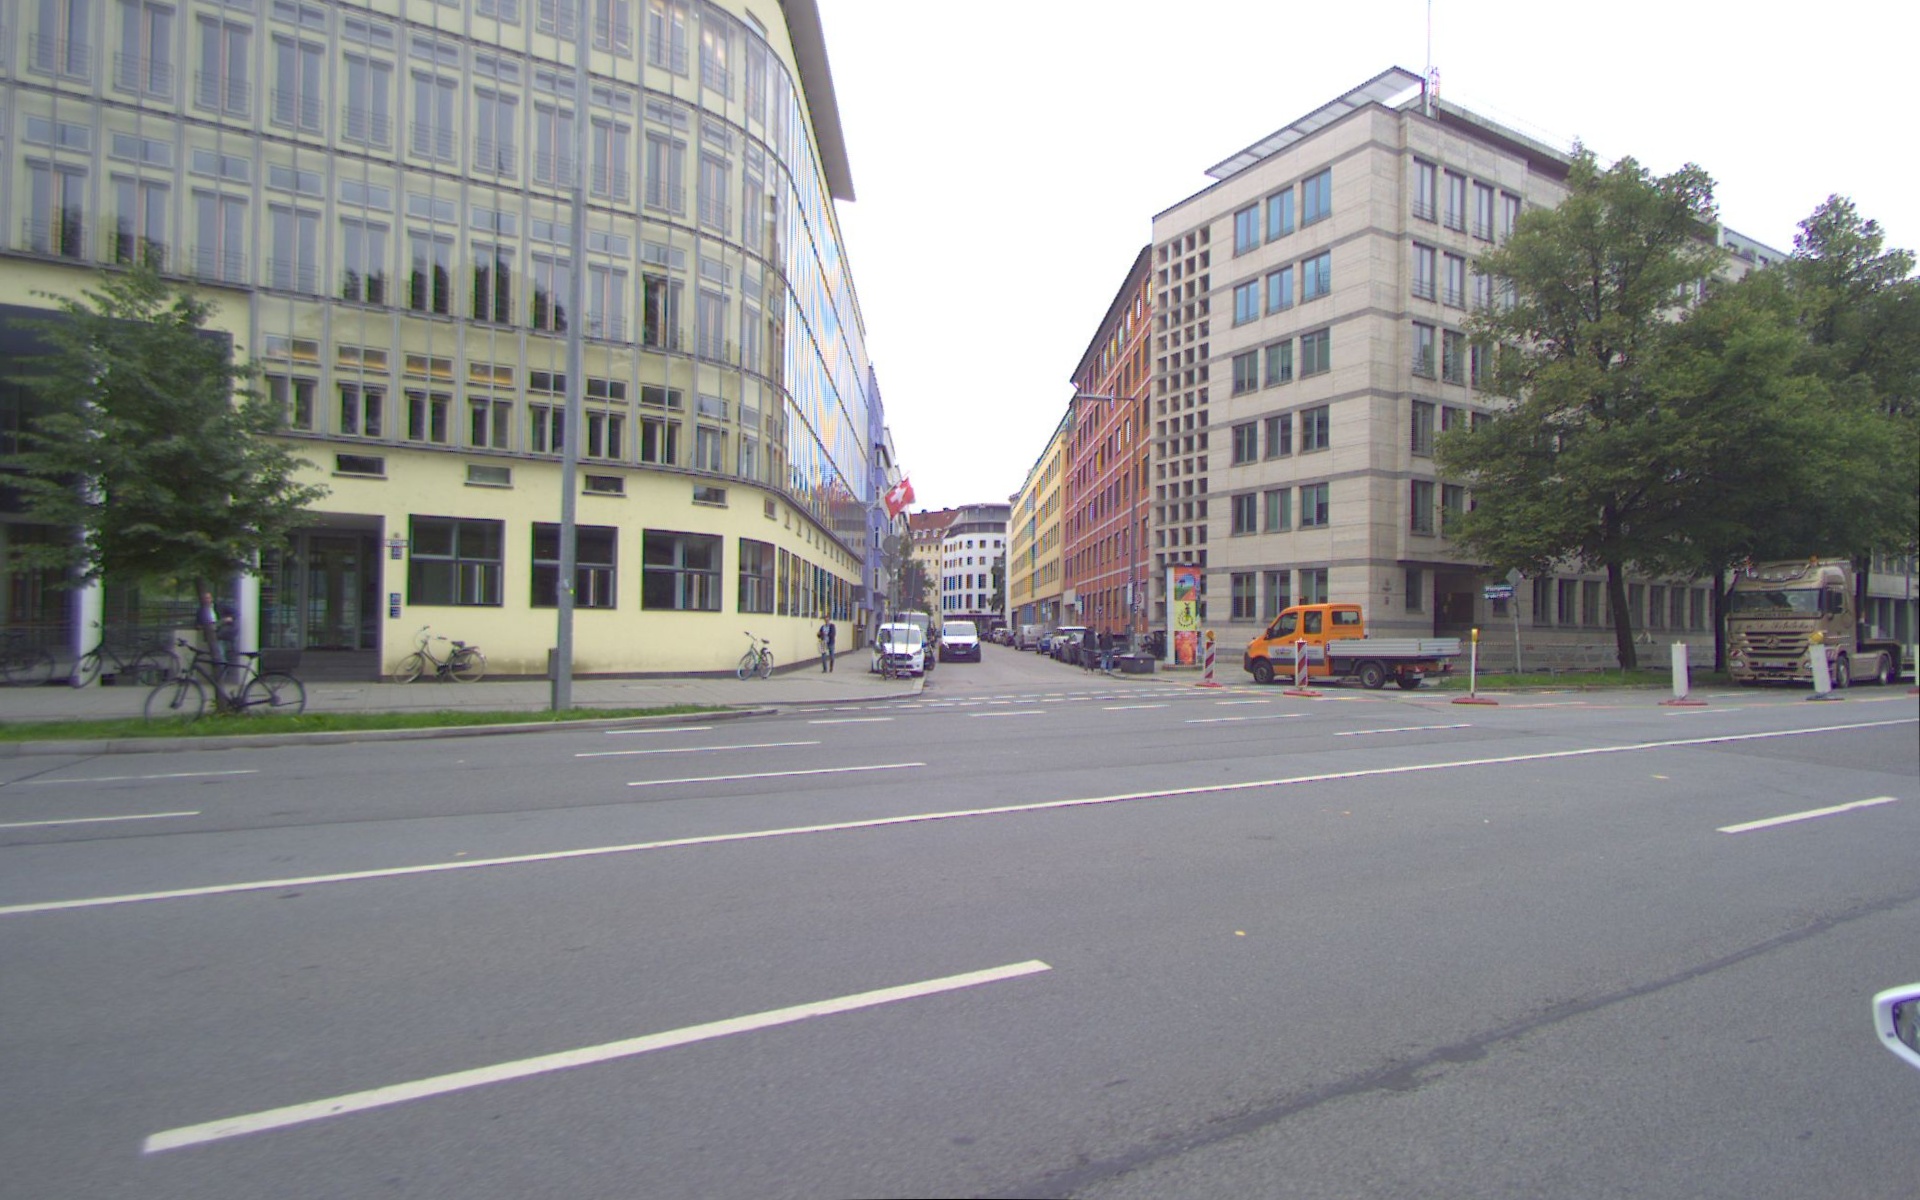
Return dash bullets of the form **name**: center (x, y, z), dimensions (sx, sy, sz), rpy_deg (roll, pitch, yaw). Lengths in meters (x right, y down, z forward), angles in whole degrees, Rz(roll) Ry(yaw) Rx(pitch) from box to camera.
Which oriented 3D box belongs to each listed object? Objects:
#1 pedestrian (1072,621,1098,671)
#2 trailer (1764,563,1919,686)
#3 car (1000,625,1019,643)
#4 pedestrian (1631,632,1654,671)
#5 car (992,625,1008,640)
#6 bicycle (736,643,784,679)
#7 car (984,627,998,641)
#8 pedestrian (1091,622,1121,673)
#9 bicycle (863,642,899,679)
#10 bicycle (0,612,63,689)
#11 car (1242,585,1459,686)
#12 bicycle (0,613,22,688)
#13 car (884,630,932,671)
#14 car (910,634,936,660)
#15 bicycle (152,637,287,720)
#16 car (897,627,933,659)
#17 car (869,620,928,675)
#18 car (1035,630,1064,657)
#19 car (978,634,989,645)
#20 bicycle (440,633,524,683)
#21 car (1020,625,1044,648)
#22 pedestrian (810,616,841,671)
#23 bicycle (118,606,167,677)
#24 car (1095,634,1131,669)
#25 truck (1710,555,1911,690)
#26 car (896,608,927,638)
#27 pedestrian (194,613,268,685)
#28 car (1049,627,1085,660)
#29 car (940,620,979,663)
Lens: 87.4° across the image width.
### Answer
- **pedestrian**: center (4.621, 1.707, 37.075), dimensions (0.665, 1.798, 0.680), rpy_deg (2, 0, -25)
- **trailer**: center (32.362, 0.898, 35.560), dimensions (11.653, 3.790, 2.930), rpy_deg (2, 0, -35)
- **car**: center (4.551, 3.167, 92.989), dimensions (1.460, 1.612, 3.183), rpy_deg (1, -1, -2)
- **pedestrian**: center (31.422, 2.388, 46.252), dimensions (0.755, 1.755, 0.576), rpy_deg (2, 0, -29)
- **car**: center (4.262, 3.446, 106.441), dimensions (1.460, 1.612, 3.183), rpy_deg (1, -1, -2)
- **bicycle**: center (-5.230, 1.581, 26.340), dimensions (0.574, 0.889, 1.738), rpy_deg (0, -1, 12)
- **car**: center (3.682, 4.025, 118.503), dimensions (1.460, 1.612, 3.183), rpy_deg (1, -1, -2)
- **pedestrian**: center (5.331, 1.733, 36.659), dimensions (0.773, 1.798, 0.680), rpy_deg (2, 0, -26)
- **bicycle**: center (-2.386, 1.828, 30.653), dimensions (0.574, 1.034, 1.847), rpy_deg (0, -1, 12)
- **bicycle**: center (-17.633, 0.928, 19.111), dimensions (0.569, 1.336, 1.995), rpy_deg (2, 0, -34)
- **car**: center (10.985, 0.984, 28.772), dimensions (2.134, 2.570, 5.648), rpy_deg (2, -2, -33)
- **bicycle**: center (-18.132, 0.927, 18.752), dimensions (0.569, 1.336, 1.995), rpy_deg (2, 0, -34)
- **car**: center (-1.981, 1.935, 39.124), dimensions (1.708, 1.476, 3.671), rpy_deg (1, -1, -1)
- **car**: center (-2.770, 3.496, 75.203), dimensions (1.834, 1.773, 3.999), rpy_deg (1, -1, -3)
- **bicycle**: center (-9.578, 0.999, 13.040), dimensions (1.370, 1.026, 0.279), rpy_deg (2, 0, -34)
- **car**: center (-2.203, 2.116, 49.912), dimensions (1.708, 1.476, 3.671), rpy_deg (1, -1, -1)
- **car**: center (-2.085, 1.615, 35.125), dimensions (1.833, 1.773, 4.329), rpy_deg (1, -1, -1)
- **car**: center (5.663, 2.729, 63.665), dimensions (1.460, 1.612, 3.183), rpy_deg (1, -1, -2)
- **car**: center (3.304, 5.536, 140.876), dimensions (1.460, 1.612, 3.183), rpy_deg (1, -1, -2)
- **bicycle**: center (-10.436, 1.252, 21.939), dimensions (1.577, 1.026, 0.569), rpy_deg (2, 0, -34)
- **car**: center (5.360, 2.704, 74.937), dimensions (1.460, 1.612, 3.183), rpy_deg (1, -1, -2)
- **pedestrian**: center (-4.372, 1.399, 32.707), dimensions (0.798, 1.756, 0.995), rpy_deg (2, 0, 1)
- **bicycle**: center (-16.488, 0.815, 20.288), dimensions (0.569, 1.336, 1.995), rpy_deg (2, 0, -34)
- **car**: center (6.502, 2.181, 42.760), dimensions (1.441, 1.393, 3.242), rpy_deg (1, -2, 8)
- **truck**: center (27.008, 0.713, 31.792), dimensions (7.586, 3.825, 2.898), rpy_deg (2, 0, -34)
- **car**: center (-3.003, 1.446, 62.182), dimensions (1.834, 1.773, 3.999), rpy_deg (1, -1, -3)
- **pedestrian**: center (-14.417, 0.962, 19.890), dimensions (1.073, 1.382, 0.833), rpy_deg (1, -2, -30)
- **car**: center (5.642, 2.269, 53.155), dimensions (1.460, 1.686, 3.183), rpy_deg (1, -1, -2)
- **car**: center (-0.064, 1.933, 48.051), dimensions (1.718, 1.935, 5.072), rpy_deg (1, -1, -2)
